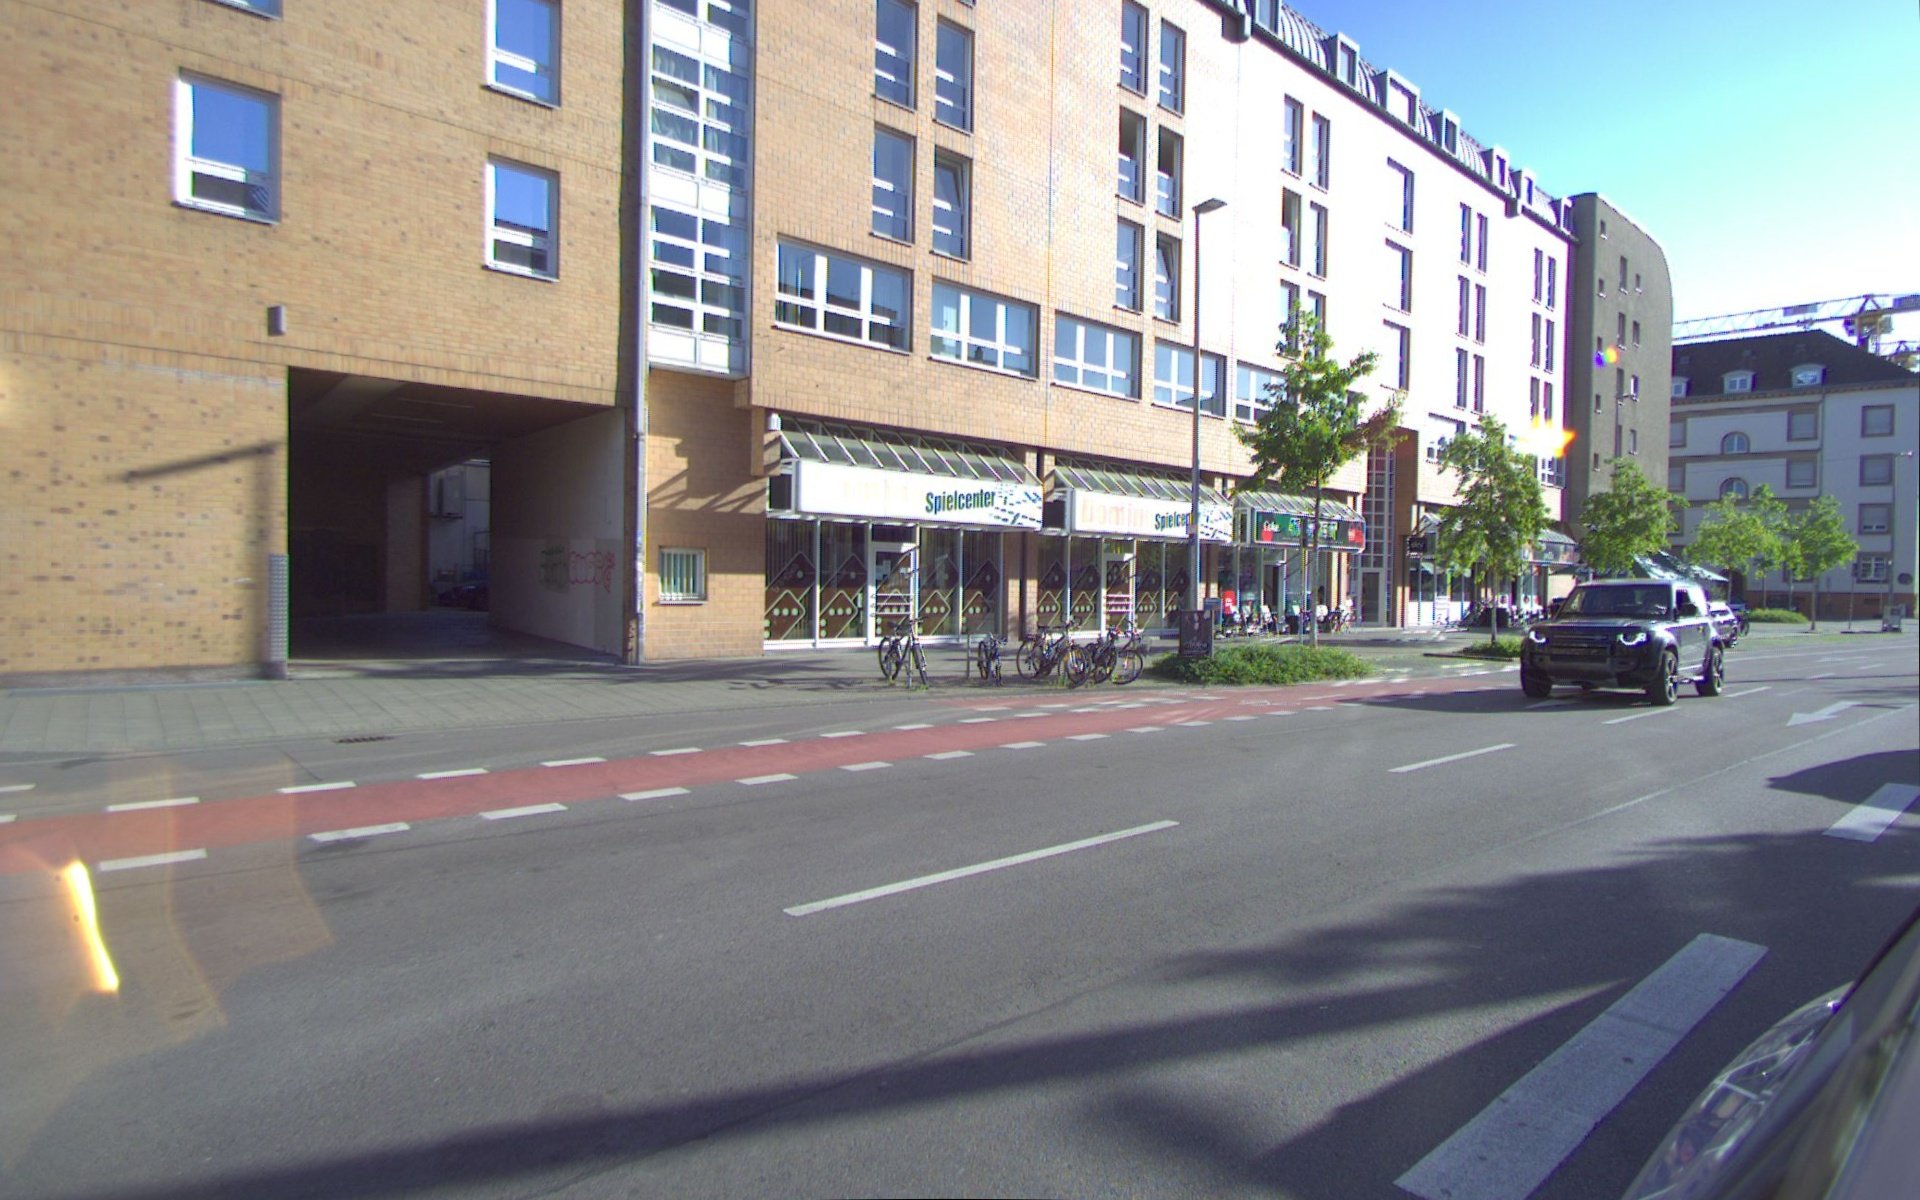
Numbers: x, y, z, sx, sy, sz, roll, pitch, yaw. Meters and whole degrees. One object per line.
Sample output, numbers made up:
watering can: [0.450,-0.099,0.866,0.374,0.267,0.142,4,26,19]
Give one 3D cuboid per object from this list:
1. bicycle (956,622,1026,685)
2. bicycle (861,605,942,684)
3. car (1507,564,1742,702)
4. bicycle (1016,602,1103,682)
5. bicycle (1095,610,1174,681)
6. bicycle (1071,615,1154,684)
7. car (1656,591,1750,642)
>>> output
bicycle: [0.497,0.867,16.799,0.359,0.842,1.779,0,3,-26]
bicycle: [-0.973,0.693,16.334,0.423,1.089,1.776,-1,4,-35]
car: [10.933,0.493,16.527,4.395,1.939,2.162,1,-1,-42]
bicycle: [1.661,0.679,17.221,0.553,1.177,1.843,0,3,-26]
bicycle: [3.052,0.771,17.858,0.343,1.069,1.843,0,3,-26]
bicycle: [2.630,0.831,17.638,0.440,0.997,1.843,0,3,-26]
car: [26.001,0.541,35.393,3.929,1.660,1.778,0,1,-41]
